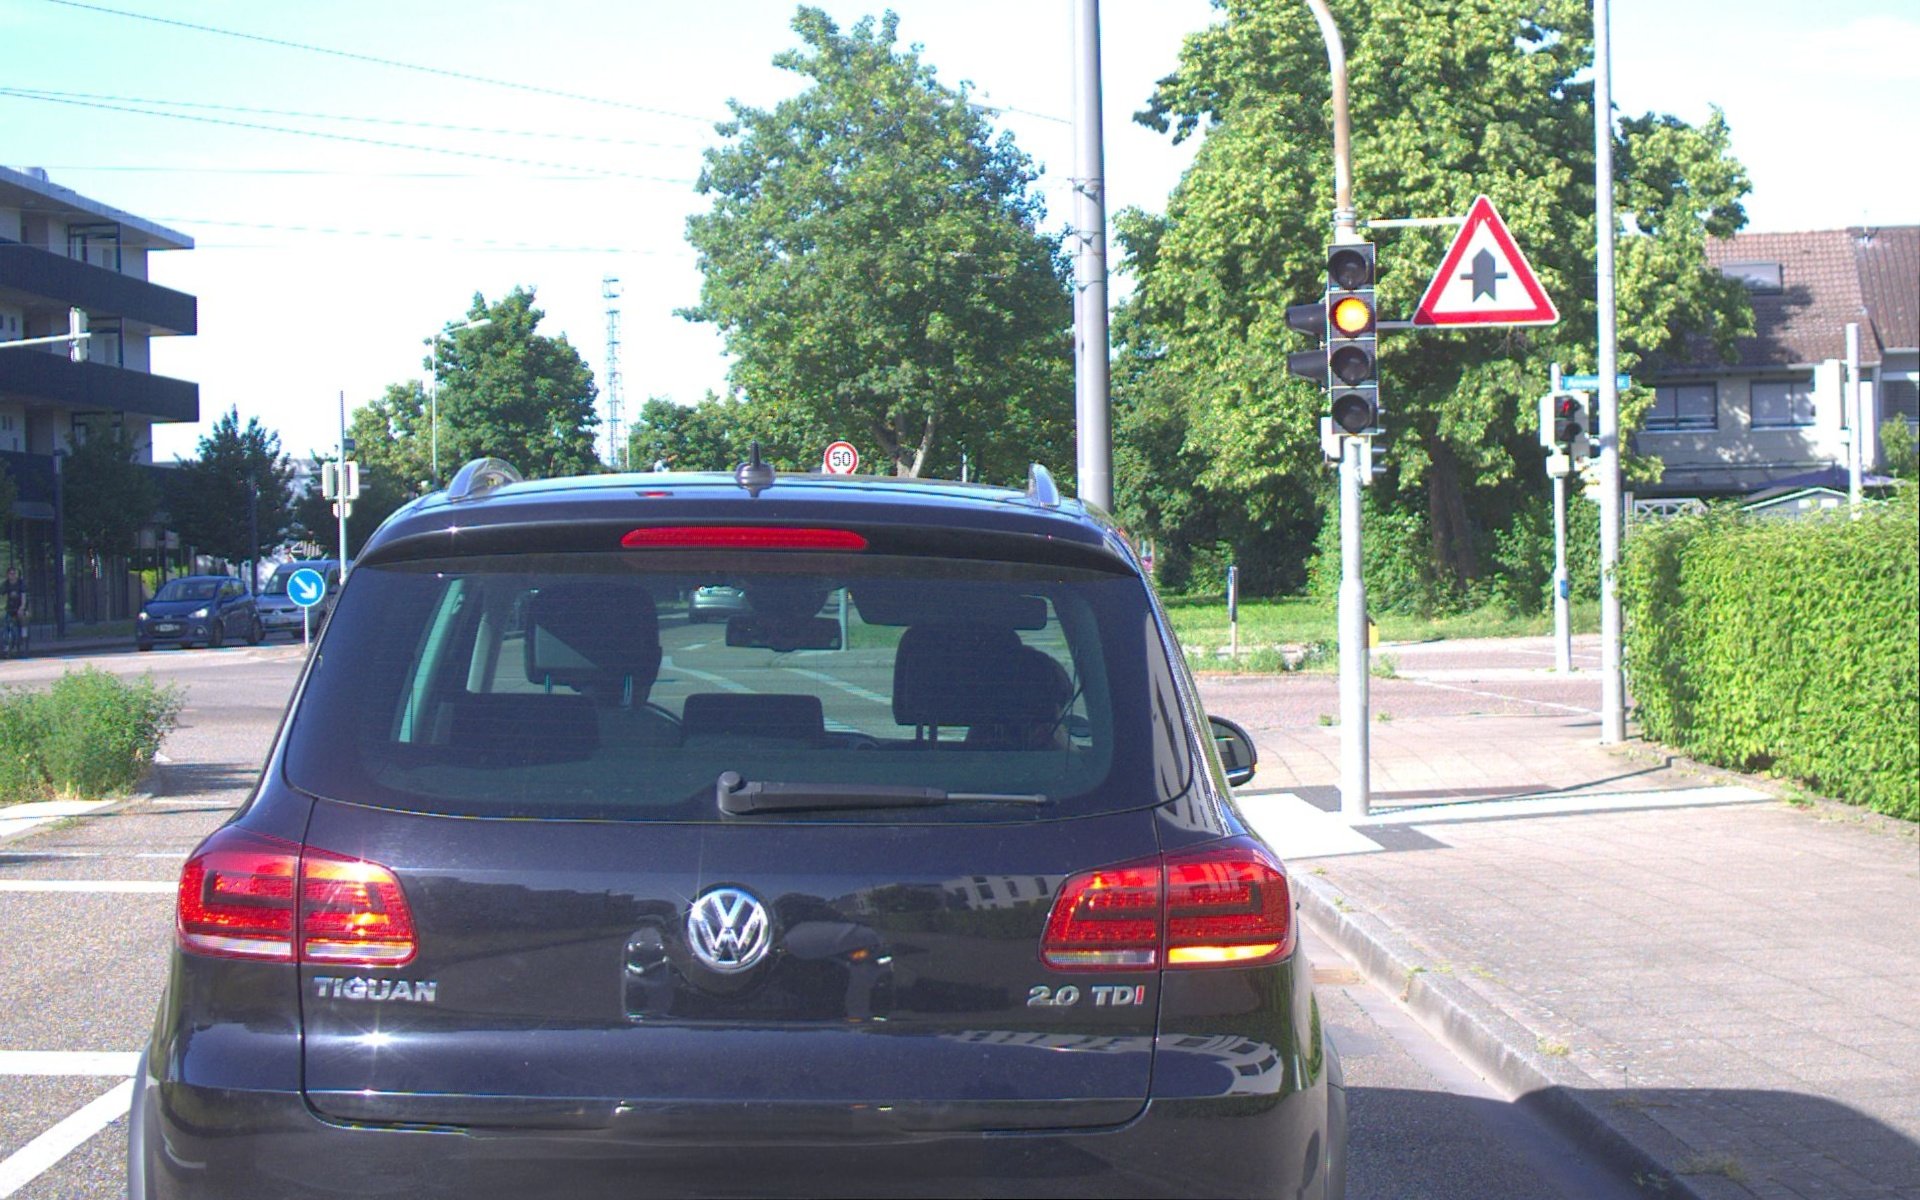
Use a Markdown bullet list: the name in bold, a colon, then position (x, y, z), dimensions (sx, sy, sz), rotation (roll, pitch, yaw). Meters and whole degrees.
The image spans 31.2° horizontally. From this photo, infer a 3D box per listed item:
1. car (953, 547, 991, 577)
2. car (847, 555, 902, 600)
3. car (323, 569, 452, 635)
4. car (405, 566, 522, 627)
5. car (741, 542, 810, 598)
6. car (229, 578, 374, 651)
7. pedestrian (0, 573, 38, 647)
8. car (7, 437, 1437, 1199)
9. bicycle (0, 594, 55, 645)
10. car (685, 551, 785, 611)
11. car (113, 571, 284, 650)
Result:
- **car**: position (0.661, -2.184, 195.913), dimensions (1.993, 1.678, 4.000), rotation (1, 1, -2)
- **car**: position (-3.550, -0.945, 143.049), dimensions (1.994, 1.830, 4.000), rotation (1, 1, 3)
- **car**: position (-14.121, 0.034, 85.039), dimensions (1.994, 1.569, 4.338), rotation (1, 1, 7)
- **car**: position (-13.119, -0.107, 91.071), dimensions (1.994, 1.569, 4.338), rotation (1, 1, 7)
- **car**: position (-5.839, -0.963, 109.185), dimensions (1.864, 1.714, 3.687), rotation (-1, 1, 1)
- **car**: position (-14.970, 0.307, 78.375), dimensions (1.994, 1.569, 4.338), rotation (1, 1, 7)
- **pedestrian**: position (-19.033, 0.189, 68.955), dimensions (0.711, 1.468, 0.953), rotation (1, 0, 7)
- **car**: position (-0.340, 0.594, 6.528), dimensions (1.869, 1.632, 4.000), rotation (1, 1, -1)
- **bicycle**: position (-19.017, 0.387, 69.046), dimensions (0.771, 0.986, 2.431), rotation (1, 1, 7)
- **car**: position (-5.902, -0.520, 90.501), dimensions (1.864, 1.480, 4.109), rotation (-1, 1, 7)
- **car**: position (-15.778, 0.194, 71.461), dimensions (1.994, 1.569, 4.337), rotation (1, 1, 9)
